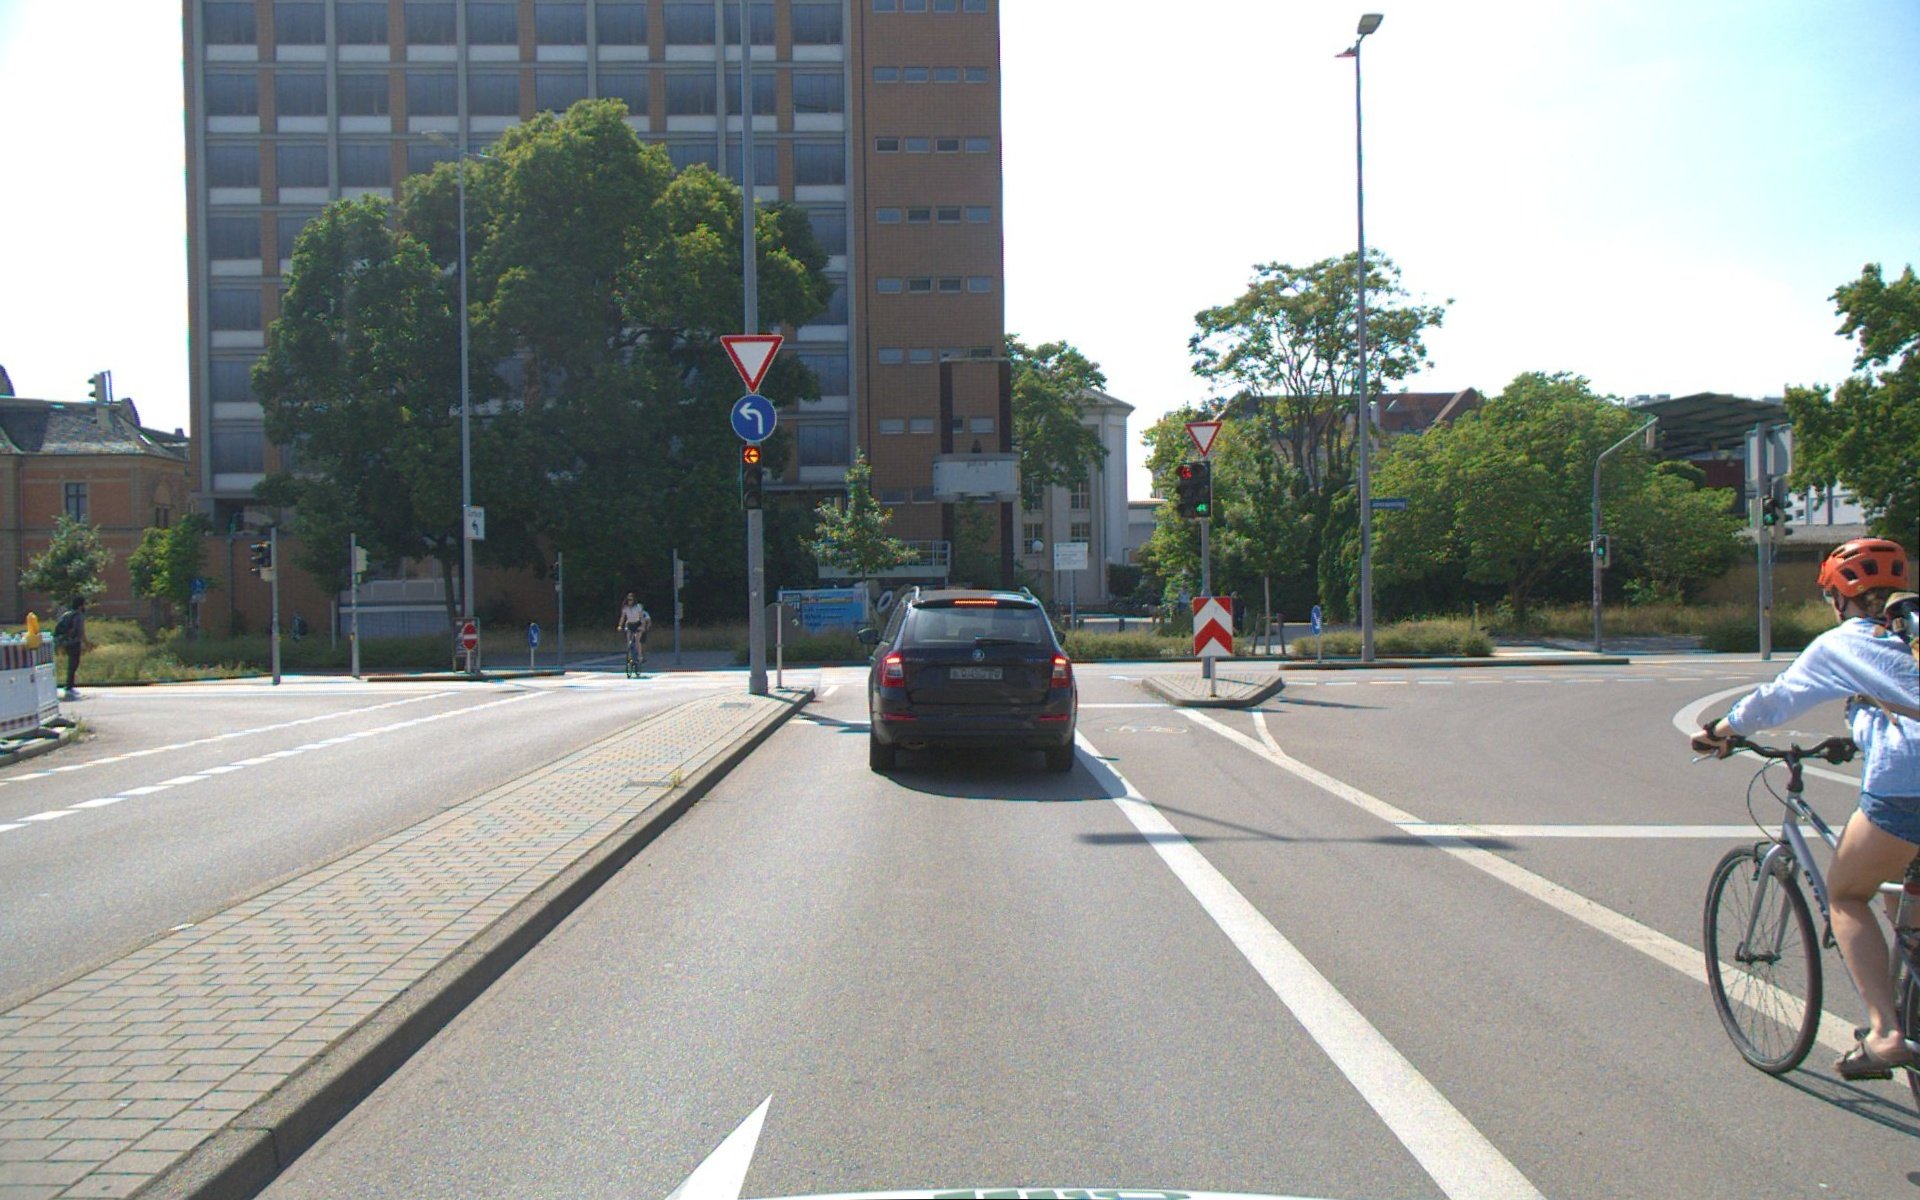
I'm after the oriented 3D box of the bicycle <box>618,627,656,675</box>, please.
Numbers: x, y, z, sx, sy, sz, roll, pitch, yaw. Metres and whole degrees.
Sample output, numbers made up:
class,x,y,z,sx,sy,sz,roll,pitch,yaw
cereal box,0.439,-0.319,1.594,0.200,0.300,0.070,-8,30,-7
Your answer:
class,x,y,z,sx,sy,sz,roll,pitch,yaw
bicycle,-7.373,1.148,37.782,0.606,0.977,1.966,-4,0,-6

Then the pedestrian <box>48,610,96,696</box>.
class,x,y,z,sx,sy,sz,roll,pitch,yaw
pedestrian,-16.059,0.948,29.914,0.621,1.517,0.614,-2,0,-17

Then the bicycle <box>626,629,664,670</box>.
class,x,y,z,sx,sy,sz,roll,pitch,yaw
bicycle,-8.316,1.291,43.697,0.690,0.994,2.030,-2,0,-3

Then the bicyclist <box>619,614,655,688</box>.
class,x,y,z,sx,sy,sz,roll,pitch,yaw
bicyclist,-7.369,1.148,37.738,0.606,1.609,1.012,-4,0,-6

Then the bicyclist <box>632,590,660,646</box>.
class,x,y,z,sx,sy,sz,roll,pitch,yaw
bicyclist,-8.286,0.473,43.636,0.528,1.441,1.029,-2,-1,-3

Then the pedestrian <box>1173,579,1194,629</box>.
class,x,y,z,sx,sy,sz,roll,pitch,yaw
pedestrian,8.717,0.148,64.596,0.624,1.907,0.796,-3,1,-1

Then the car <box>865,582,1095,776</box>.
class,x,y,z,sx,sy,sz,roll,pitch,yaw
car,0.141,0.593,14.494,1.743,1.468,3.817,0,0,0

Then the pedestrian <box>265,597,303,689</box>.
class,x,y,z,sx,sy,sz,roll,pitch,yaw
pedestrian,-15.366,0.972,37.594,0.610,2.049,0.678,1,-1,-38

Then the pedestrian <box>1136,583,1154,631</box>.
class,x,y,z,sx,sy,sz,roll,pitch,yaw
pedestrian,7.354,0.272,65.751,0.584,1.907,0.639,-1,0,22

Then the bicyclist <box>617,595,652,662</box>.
class,x,y,z,sx,sy,sz,roll,pitch,yaw
bicyclist,-7.390,0.633,37.627,0.606,1.468,0.919,-4,0,-6

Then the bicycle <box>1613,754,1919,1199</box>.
class,x,y,z,sx,sy,sz,roll,pitch,yaw
bicycle,2.588,0.995,4.649,0.584,0.948,2.026,0,-1,-4

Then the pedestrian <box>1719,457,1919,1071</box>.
class,x,y,z,sx,sy,sz,roll,pitch,yaw
pedestrian,2.584,0.400,4.433,0.572,1.492,1.012,0,0,-5

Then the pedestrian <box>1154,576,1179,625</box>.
class,x,y,z,sx,sy,sz,roll,pitch,yaw
pedestrian,8.210,0.028,65.704,0.777,1.907,0.639,-3,1,22
